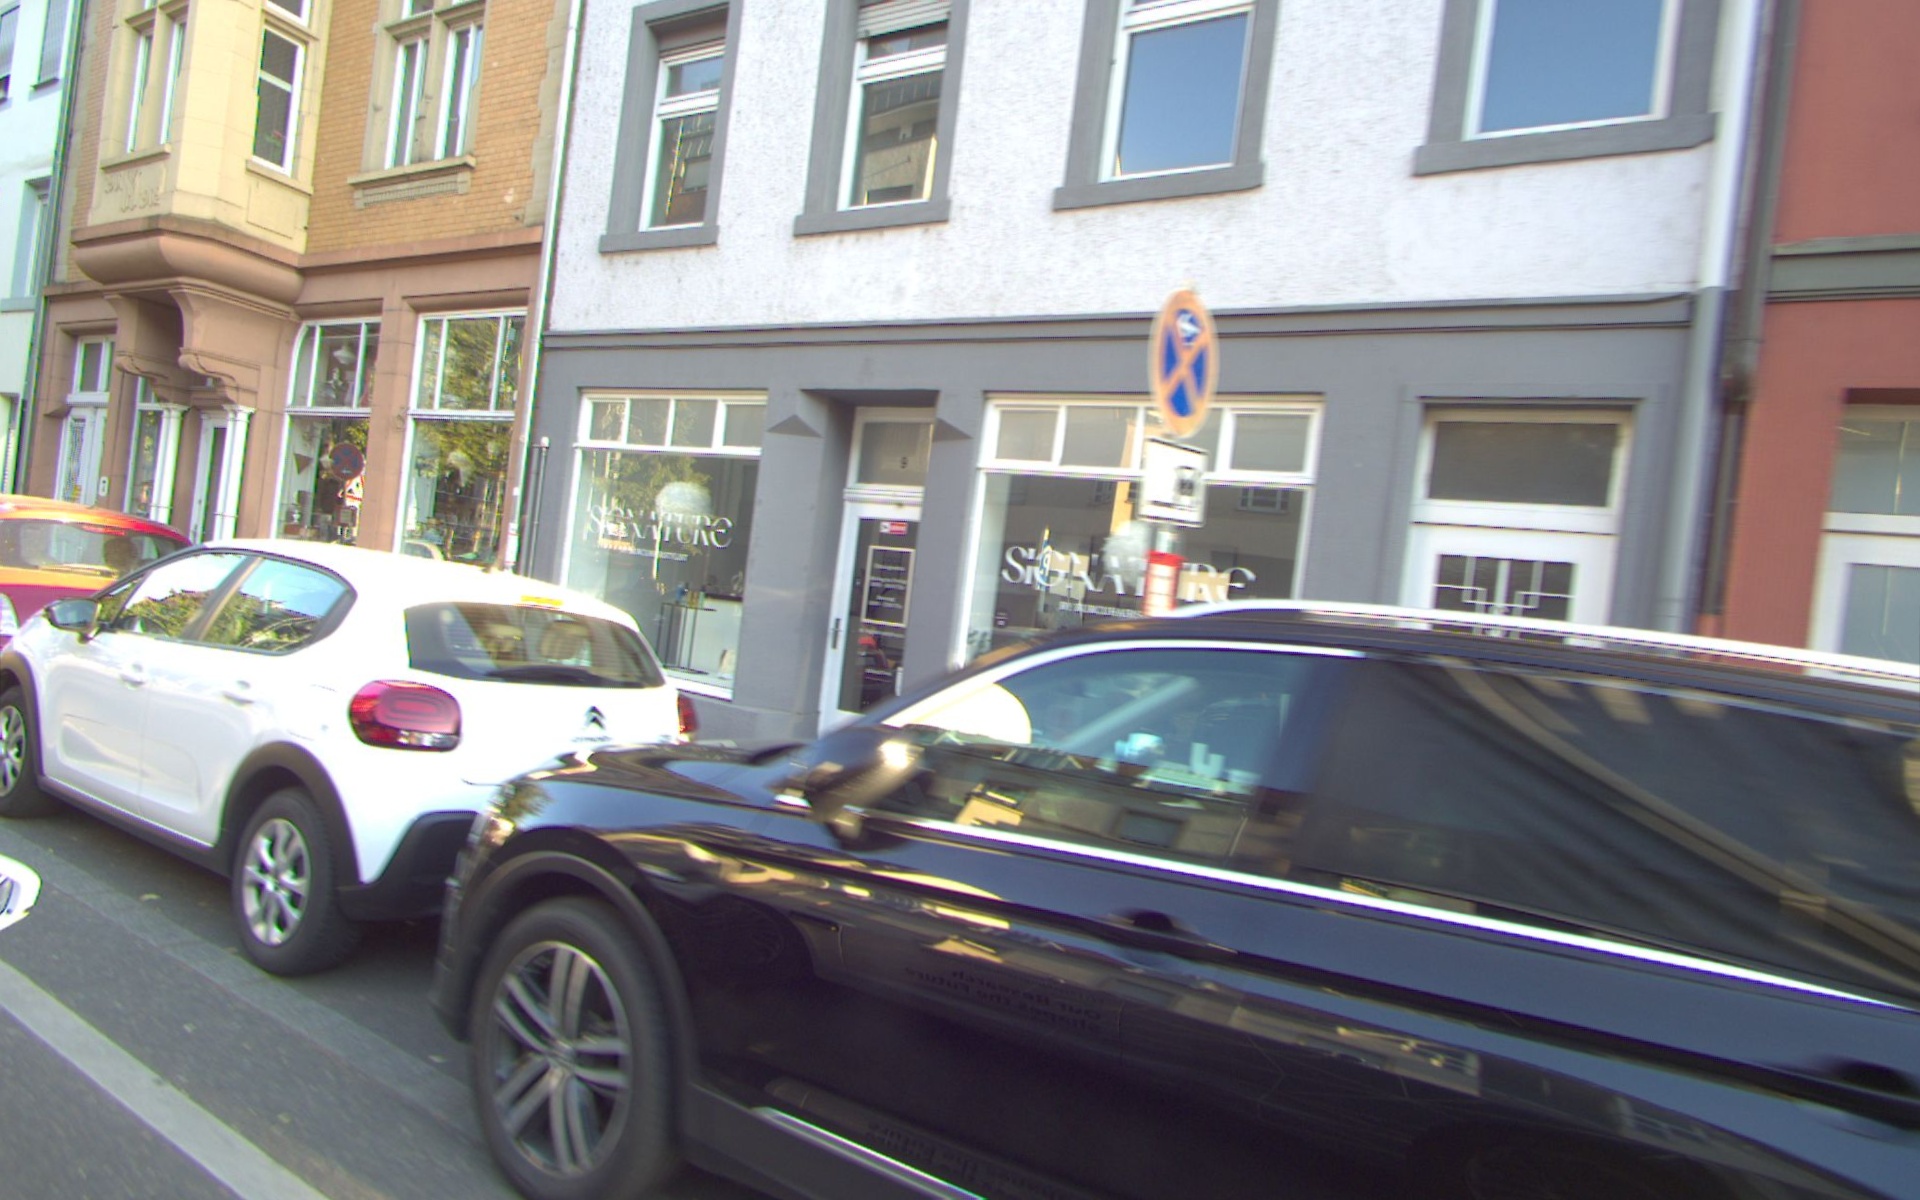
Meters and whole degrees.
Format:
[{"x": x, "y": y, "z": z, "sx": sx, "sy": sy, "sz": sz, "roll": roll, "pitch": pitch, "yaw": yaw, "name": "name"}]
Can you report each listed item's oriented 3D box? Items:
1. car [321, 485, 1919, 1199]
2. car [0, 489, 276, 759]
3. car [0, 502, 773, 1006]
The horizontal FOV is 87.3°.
[{"x": 0.573, "y": 0.806, "z": 2.506, "sx": 4.135, "sy": 1.687, "sz": 1.816, "roll": 6, "pitch": -2, "yaw": 30, "name": "car"}, {"x": -6.447, "y": 0.047, "z": 6.911, "sx": 3.212, "sy": 1.500, "sz": 1.590, "roll": 6, "pitch": -2, "yaw": 31, "name": "car"}, {"x": -2.939, "y": 0.452, "z": 4.746, "sx": 3.738, "sy": 1.394, "sz": 1.670, "roll": 6, "pitch": -2, "yaw": 30, "name": "car"}]
